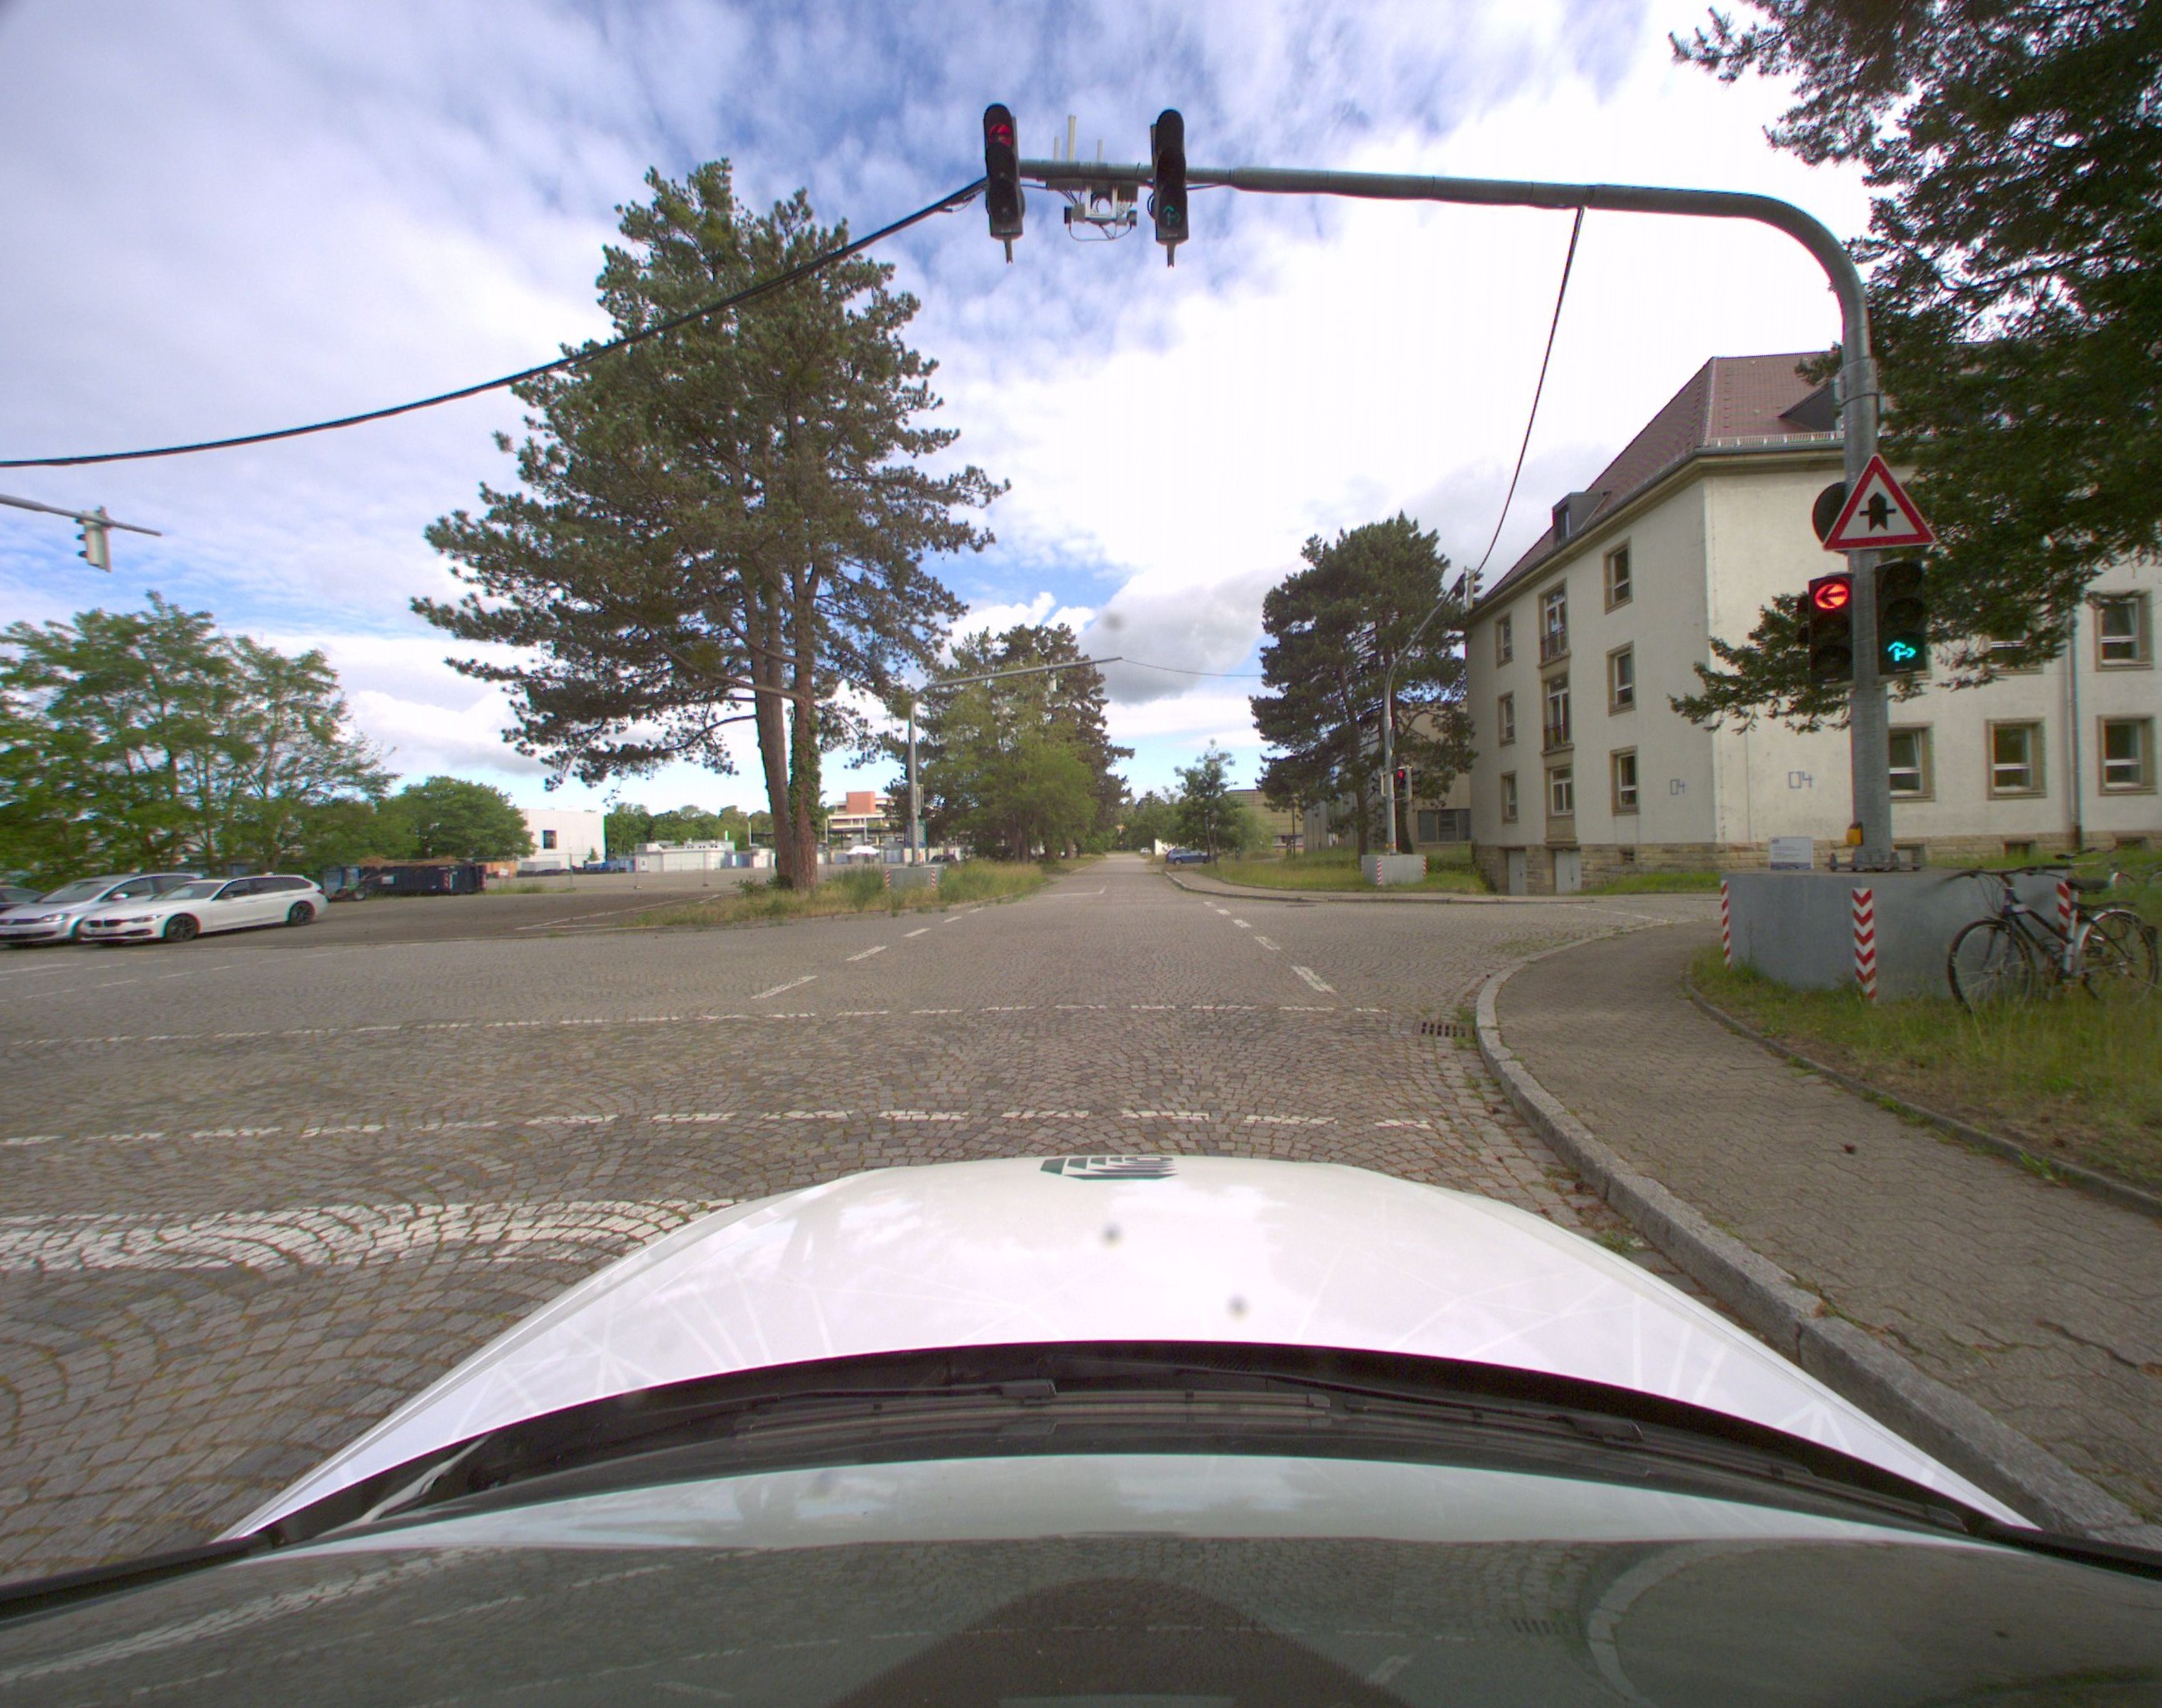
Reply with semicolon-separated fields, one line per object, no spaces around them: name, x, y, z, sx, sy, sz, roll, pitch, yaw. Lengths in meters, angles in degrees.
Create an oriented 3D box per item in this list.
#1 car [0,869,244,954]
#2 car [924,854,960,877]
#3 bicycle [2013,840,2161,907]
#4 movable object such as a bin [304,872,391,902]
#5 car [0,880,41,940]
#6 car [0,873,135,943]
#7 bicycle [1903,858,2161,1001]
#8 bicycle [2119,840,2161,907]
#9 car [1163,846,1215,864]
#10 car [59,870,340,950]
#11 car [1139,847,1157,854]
car;-24.410;1.362;20.625;1.816;1.584;4.327;-2;3;0
car;-9.758;0.754;57.537;1.606;1.487;4.004;-2;0;3
bicycle;15.793;0.302;12.808;1.614;0.980;0.530;-2;0;2
movable object such as a bin;-30.105;1.339;33.494;1.174;1.048;2.657;-2;0;-2
car;-29.849;1.559;20.477;1.787;1.566;4.326;-2;0;0
car;-27.178;1.401;20.358;1.849;1.501;4.327;-2;3;0
bicycle;6.817;0.497;5.596;1.692;0.874;0.573;-2;0;3
bicycle;17.548;0.287;12.869;1.530;1.014;0.543;-2;0;2
car;9.479;0.088;71.553;4.329;1.422;2.000;-2;0;1
car;-21.893;1.308;20.606;1.803;1.441;4.742;-2;2;1
car;15.455;-0.793;188.581;3.977;1.398;1.998;-2;0;-3
